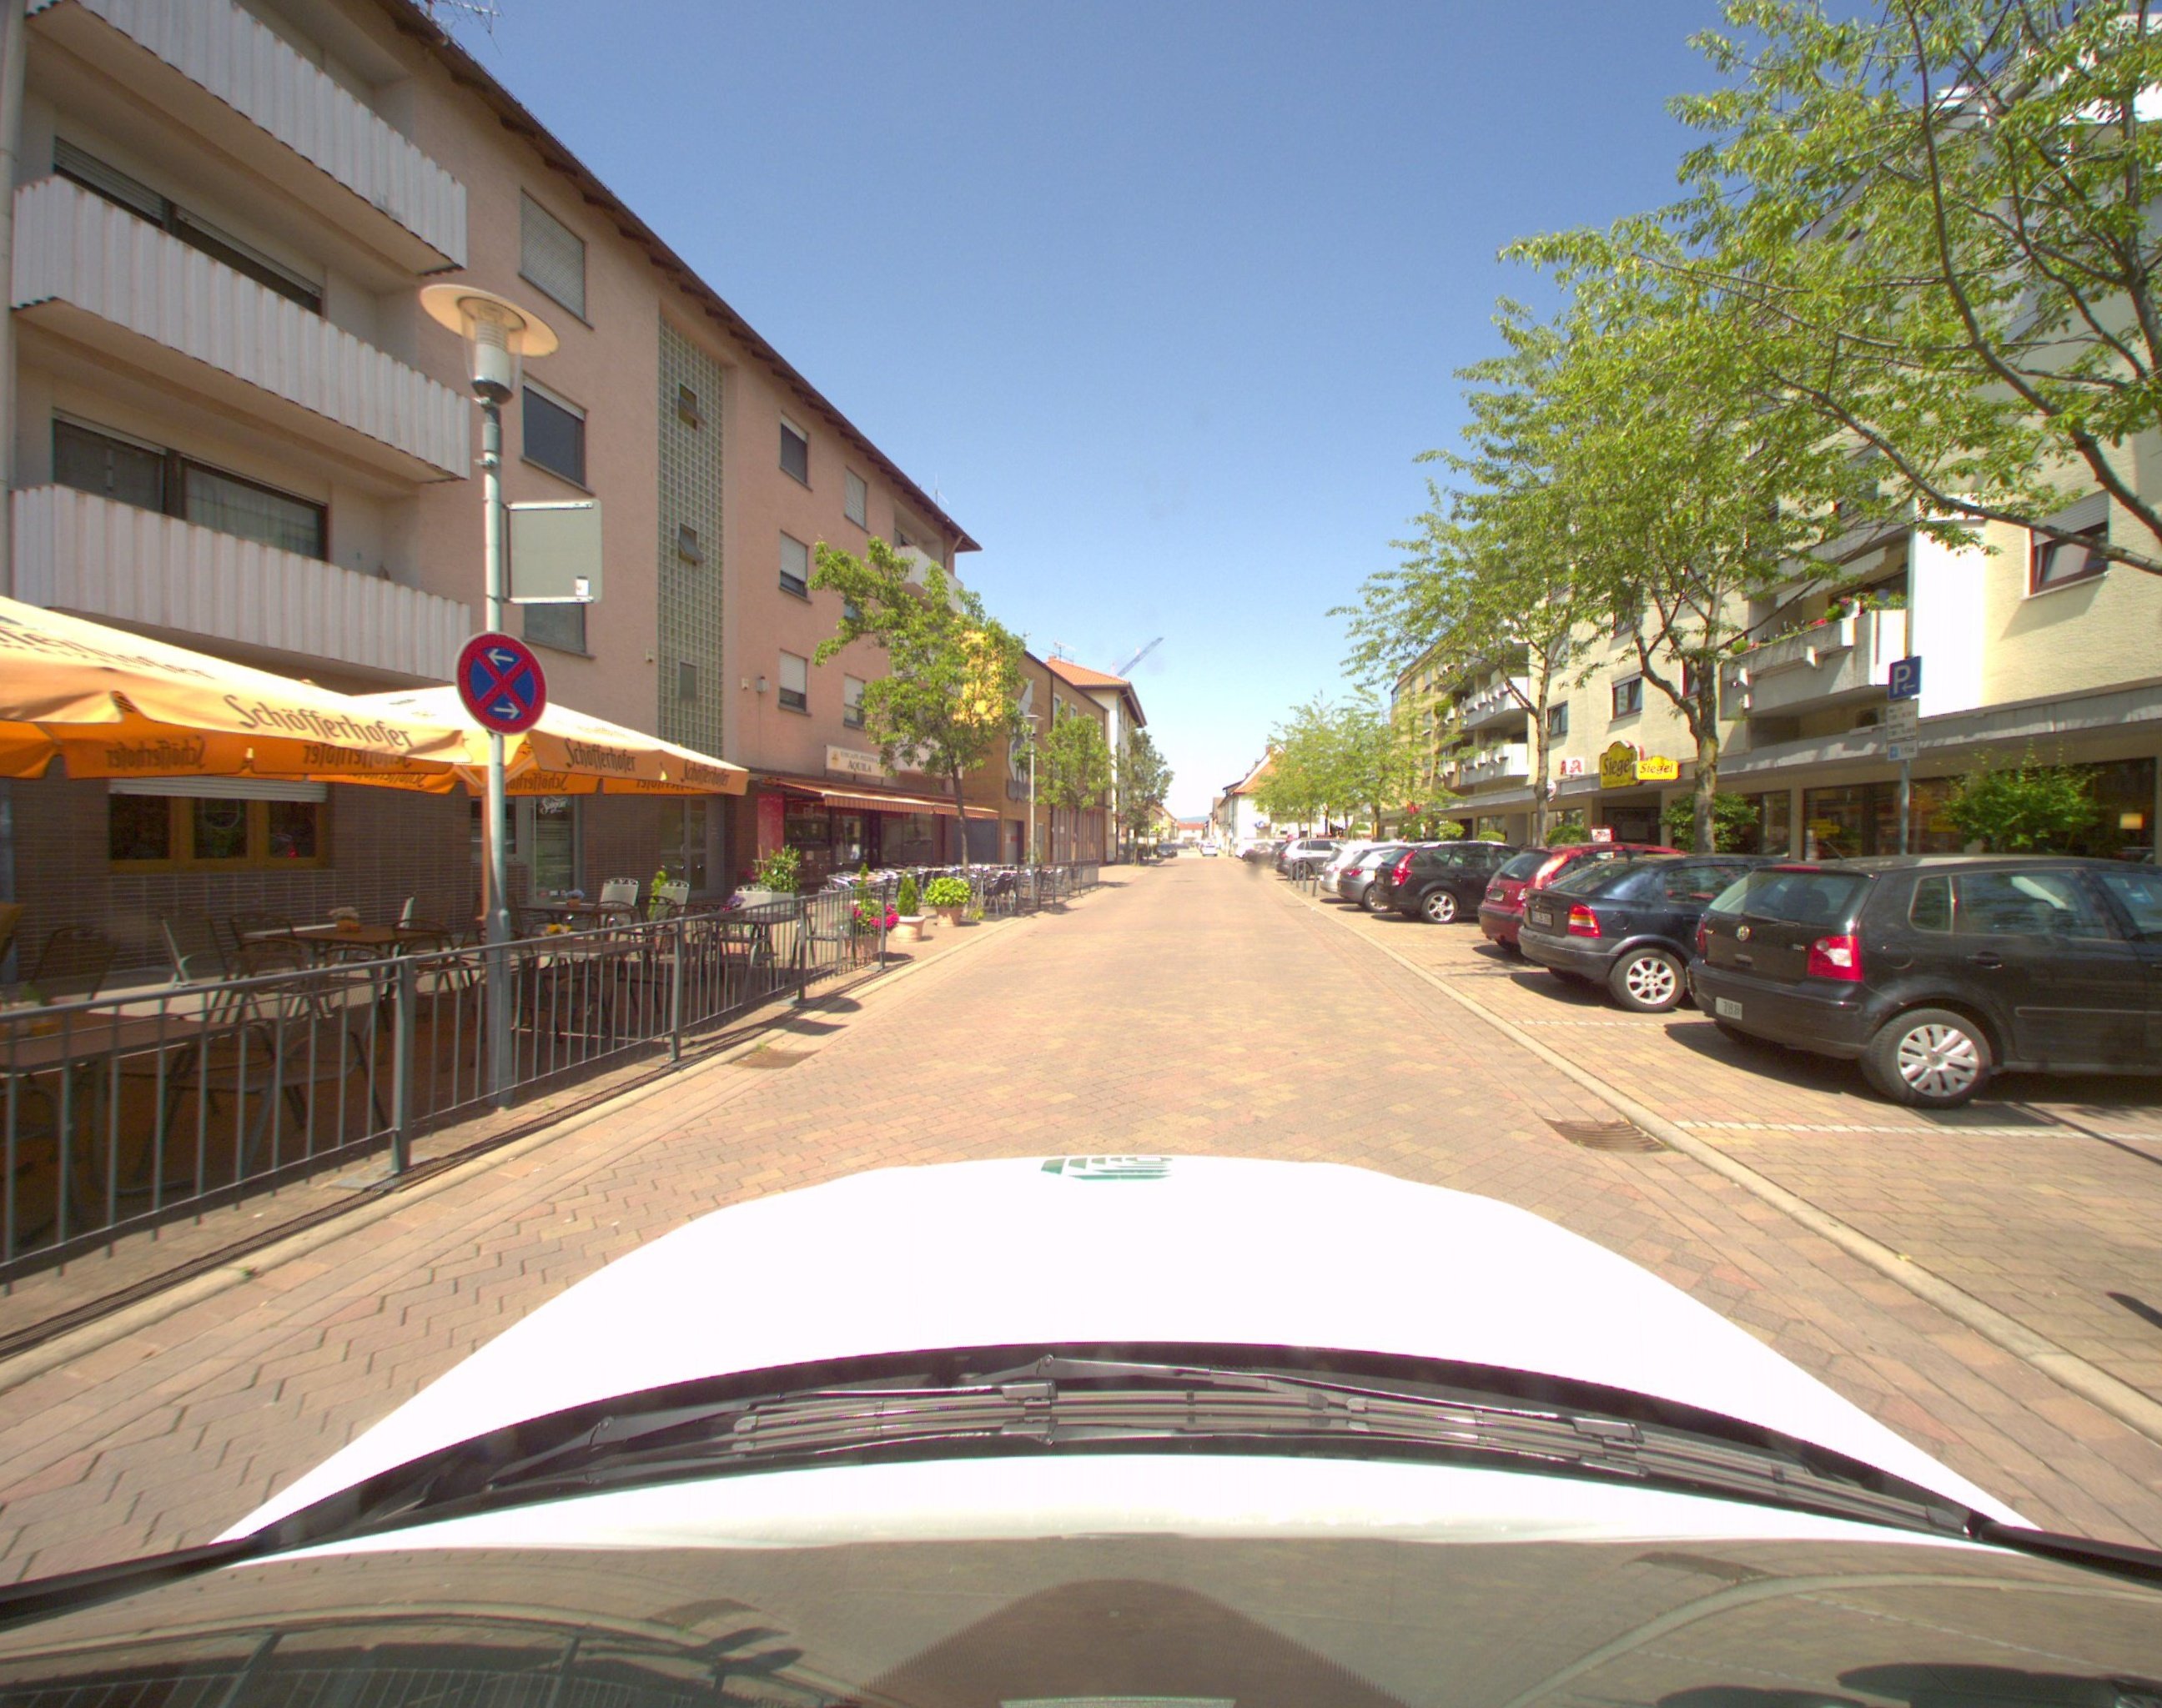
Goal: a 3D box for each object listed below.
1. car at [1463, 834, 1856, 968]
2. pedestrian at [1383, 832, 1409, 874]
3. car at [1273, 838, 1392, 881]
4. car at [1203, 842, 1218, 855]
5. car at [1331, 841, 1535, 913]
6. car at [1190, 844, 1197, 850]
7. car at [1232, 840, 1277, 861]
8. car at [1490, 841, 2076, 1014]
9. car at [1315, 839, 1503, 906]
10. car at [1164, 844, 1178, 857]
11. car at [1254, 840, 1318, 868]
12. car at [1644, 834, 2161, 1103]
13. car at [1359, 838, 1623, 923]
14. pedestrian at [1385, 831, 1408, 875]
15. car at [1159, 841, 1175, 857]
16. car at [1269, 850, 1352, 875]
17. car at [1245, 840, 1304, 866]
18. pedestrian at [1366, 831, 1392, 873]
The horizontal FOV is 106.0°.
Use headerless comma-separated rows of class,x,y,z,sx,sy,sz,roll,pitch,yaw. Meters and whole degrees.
car,7.127,0.553,10.414,3.702,1.534,1.770,-1,1,8
pedestrian,13.669,-0.060,35.343,0.834,1.786,0.807,0,1,2
car,9.711,0.188,31.700,4.221,1.615,1.562,0,1,7
car,16.371,-0.744,102.918,1.821,1.532,3.956,0,2,9
car,7.623,0.464,17.986,3.909,1.489,1.722,0,1,13
car,30.704,-1.987,222.635,1.736,1.481,3.639,0,2,9
car,14.644,-0.269,68.812,3.463,1.700,1.537,-1,0,3
car,6.507,0.647,8.028,4.074,1.431,1.788,-1,1,8
car,8.162,0.416,20.609,4.127,1.573,1.764,0,2,10
car,10.711,-0.452,96.758,1.499,1.500,3.837,0,2,9
car,12.244,-0.021,48.799,3.502,1.655,1.714,0,0,7
car,6.351,0.627,5.420,3.937,1.510,1.776,0,1,7
car,7.749,0.467,15.746,4.162,1.541,1.949,0,1,5
pedestrian,13.077,-0.054,33.758,0.830,1.786,0.811,1,2,21
car,8.955,-0.540,84.901,1.499,1.500,3.837,0,2,9
car,10.562,0.380,37.552,3.506,1.141,1.275,0,0,4
car,12.414,-0.090,52.371,3.502,1.624,1.714,0,0,7
pedestrian,12.752,-0.089,34.869,0.834,1.786,0.807,0,1,2
